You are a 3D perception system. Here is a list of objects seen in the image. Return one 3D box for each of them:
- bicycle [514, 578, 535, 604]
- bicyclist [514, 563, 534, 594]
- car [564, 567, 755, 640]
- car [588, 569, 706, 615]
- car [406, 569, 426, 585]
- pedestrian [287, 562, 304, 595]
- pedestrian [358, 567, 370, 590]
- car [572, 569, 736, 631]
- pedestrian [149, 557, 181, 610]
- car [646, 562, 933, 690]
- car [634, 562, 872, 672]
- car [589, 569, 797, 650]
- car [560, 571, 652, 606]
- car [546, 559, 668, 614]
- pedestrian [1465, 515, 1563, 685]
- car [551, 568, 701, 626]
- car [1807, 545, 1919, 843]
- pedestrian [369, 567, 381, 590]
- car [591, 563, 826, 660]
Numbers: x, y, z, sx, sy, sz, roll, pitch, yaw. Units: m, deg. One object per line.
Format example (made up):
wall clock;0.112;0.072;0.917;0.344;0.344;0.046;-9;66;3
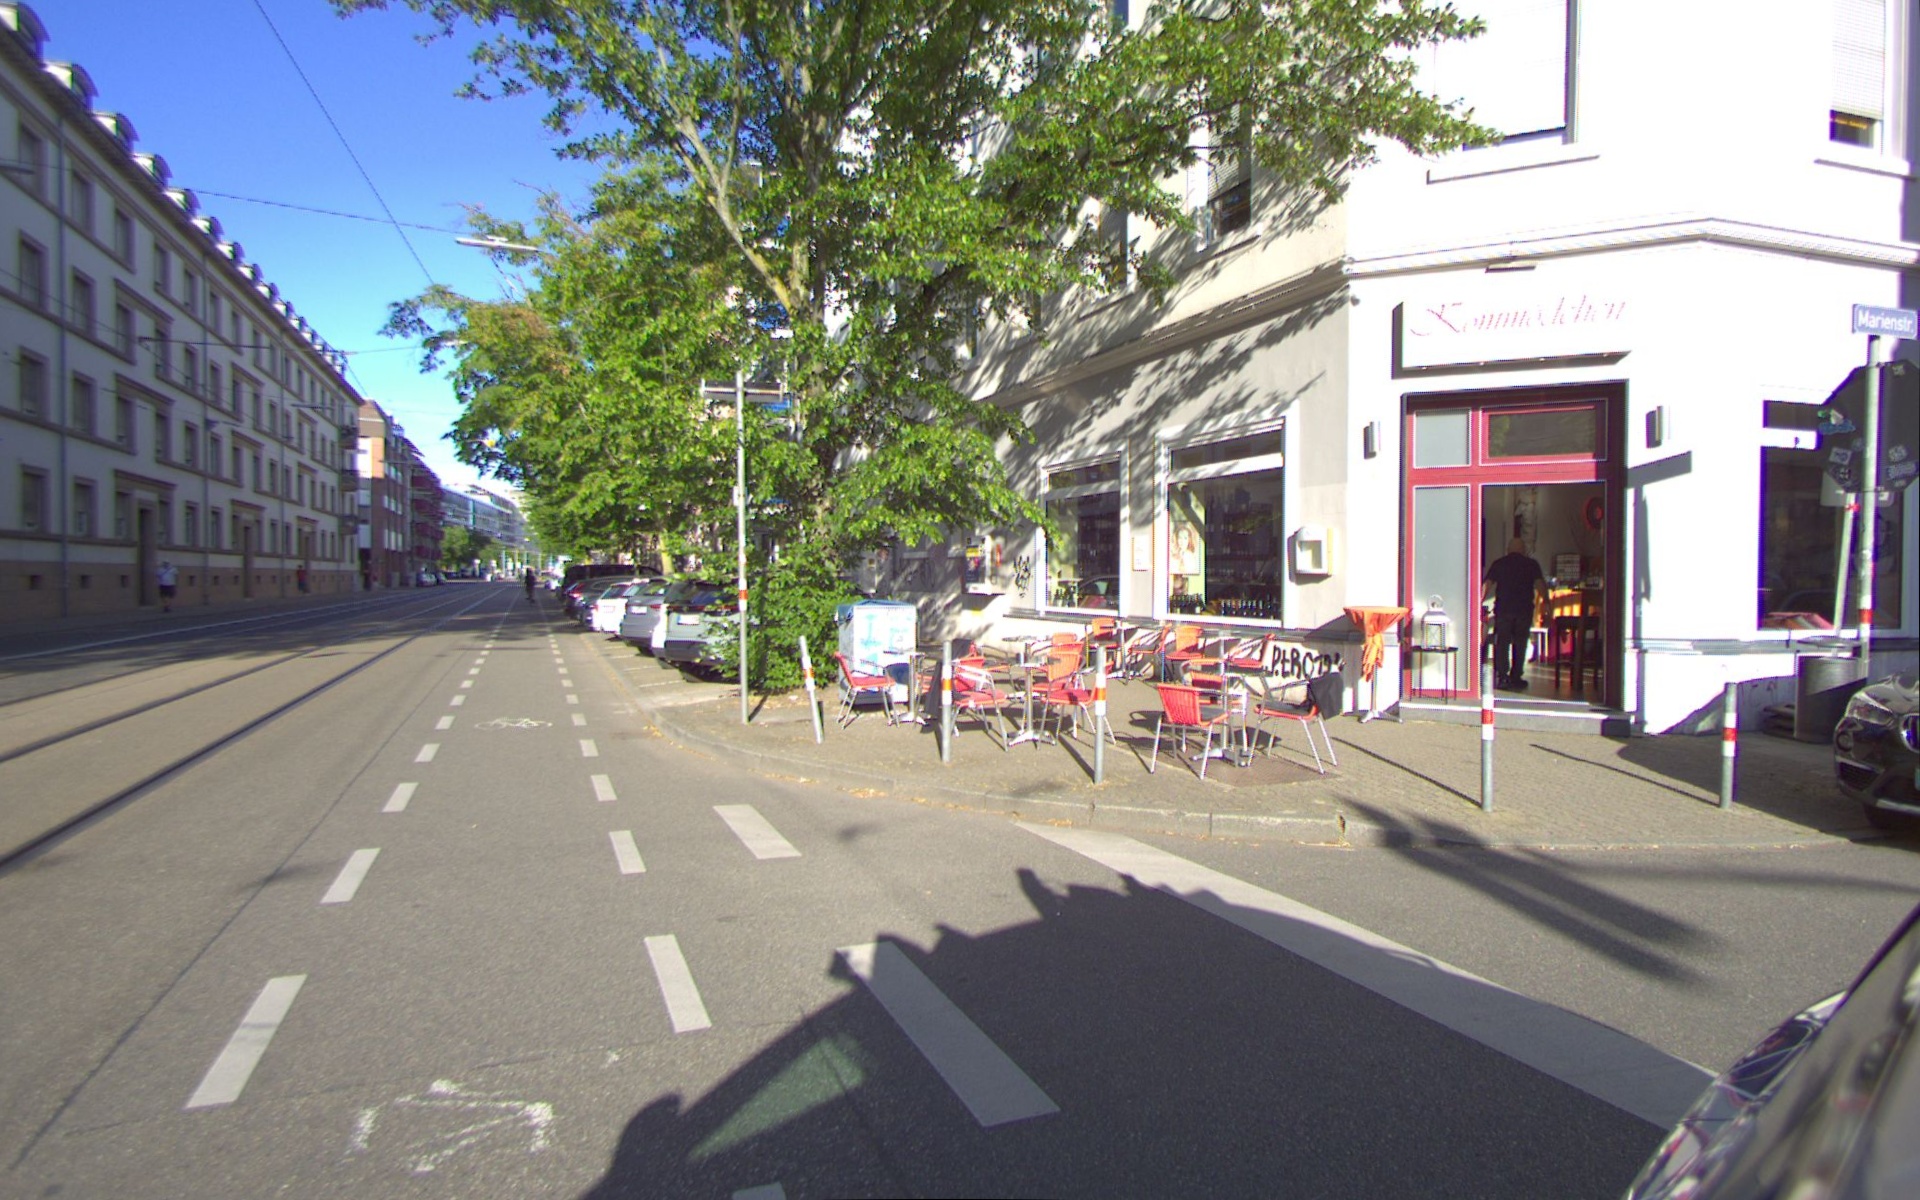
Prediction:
bicycle;-21.109;-0.454;49.044;0.883;1.179;3.255;0;1;-23
bicyclist;-21.135;-1.026;49.098;0.883;1.472;1.265;0;1;-24
car;-7.112;0.021;24.164;4.061;1.506;1.619;-3;3;-38
car;-11.467;-0.351;37.345;1.609;1.506;4.087;1;3;34
car;-61.444;-2.571;114.344;1.851;1.705;4.399;-1;1;-26
pedestrian;-37.790;-1.232;57.550;0.723;1.860;0.698;0;1;-25
pedestrian;-47.837;-1.724;81.242;0.723;1.860;0.698;0;1;-25
car;-8.387;-0.054;27.820;4.053;1.506;1.623;-2;3;-29
pedestrian;-28.162;-0.586;35.861;0.723;1.860;0.698;0;1;-25
car;-2.385;0.255;14.977;1.614;1.574;4.074;2;4;42
car;-3.410;0.177;17.410;1.609;1.574;4.087;1;3;34
car;-5.746;0.132;22.036;4.060;1.506;1.620;-3;3;-37
car;-16.946;-0.563;48.469;4.050;1.506;1.624;-2;3;-24
car;-13.394;-0.573;38.615;1.876;1.910;4.087;1;3;34
pedestrian;6.269;-0.015;11.438;0.859;1.822;0.841;1;1;36
car;-9.797;-0.155;29.945;1.609;1.506;4.087;1;3;34
car;7.473;0.522;6.061;4.109;1.683;1.769;0;0;-18
pedestrian;-47.136;-1.748;81.551;0.723;1.860;0.698;0;1;-25
car;-4.673;0.127;19.181;4.067;1.574;1.617;-3;4;-43
